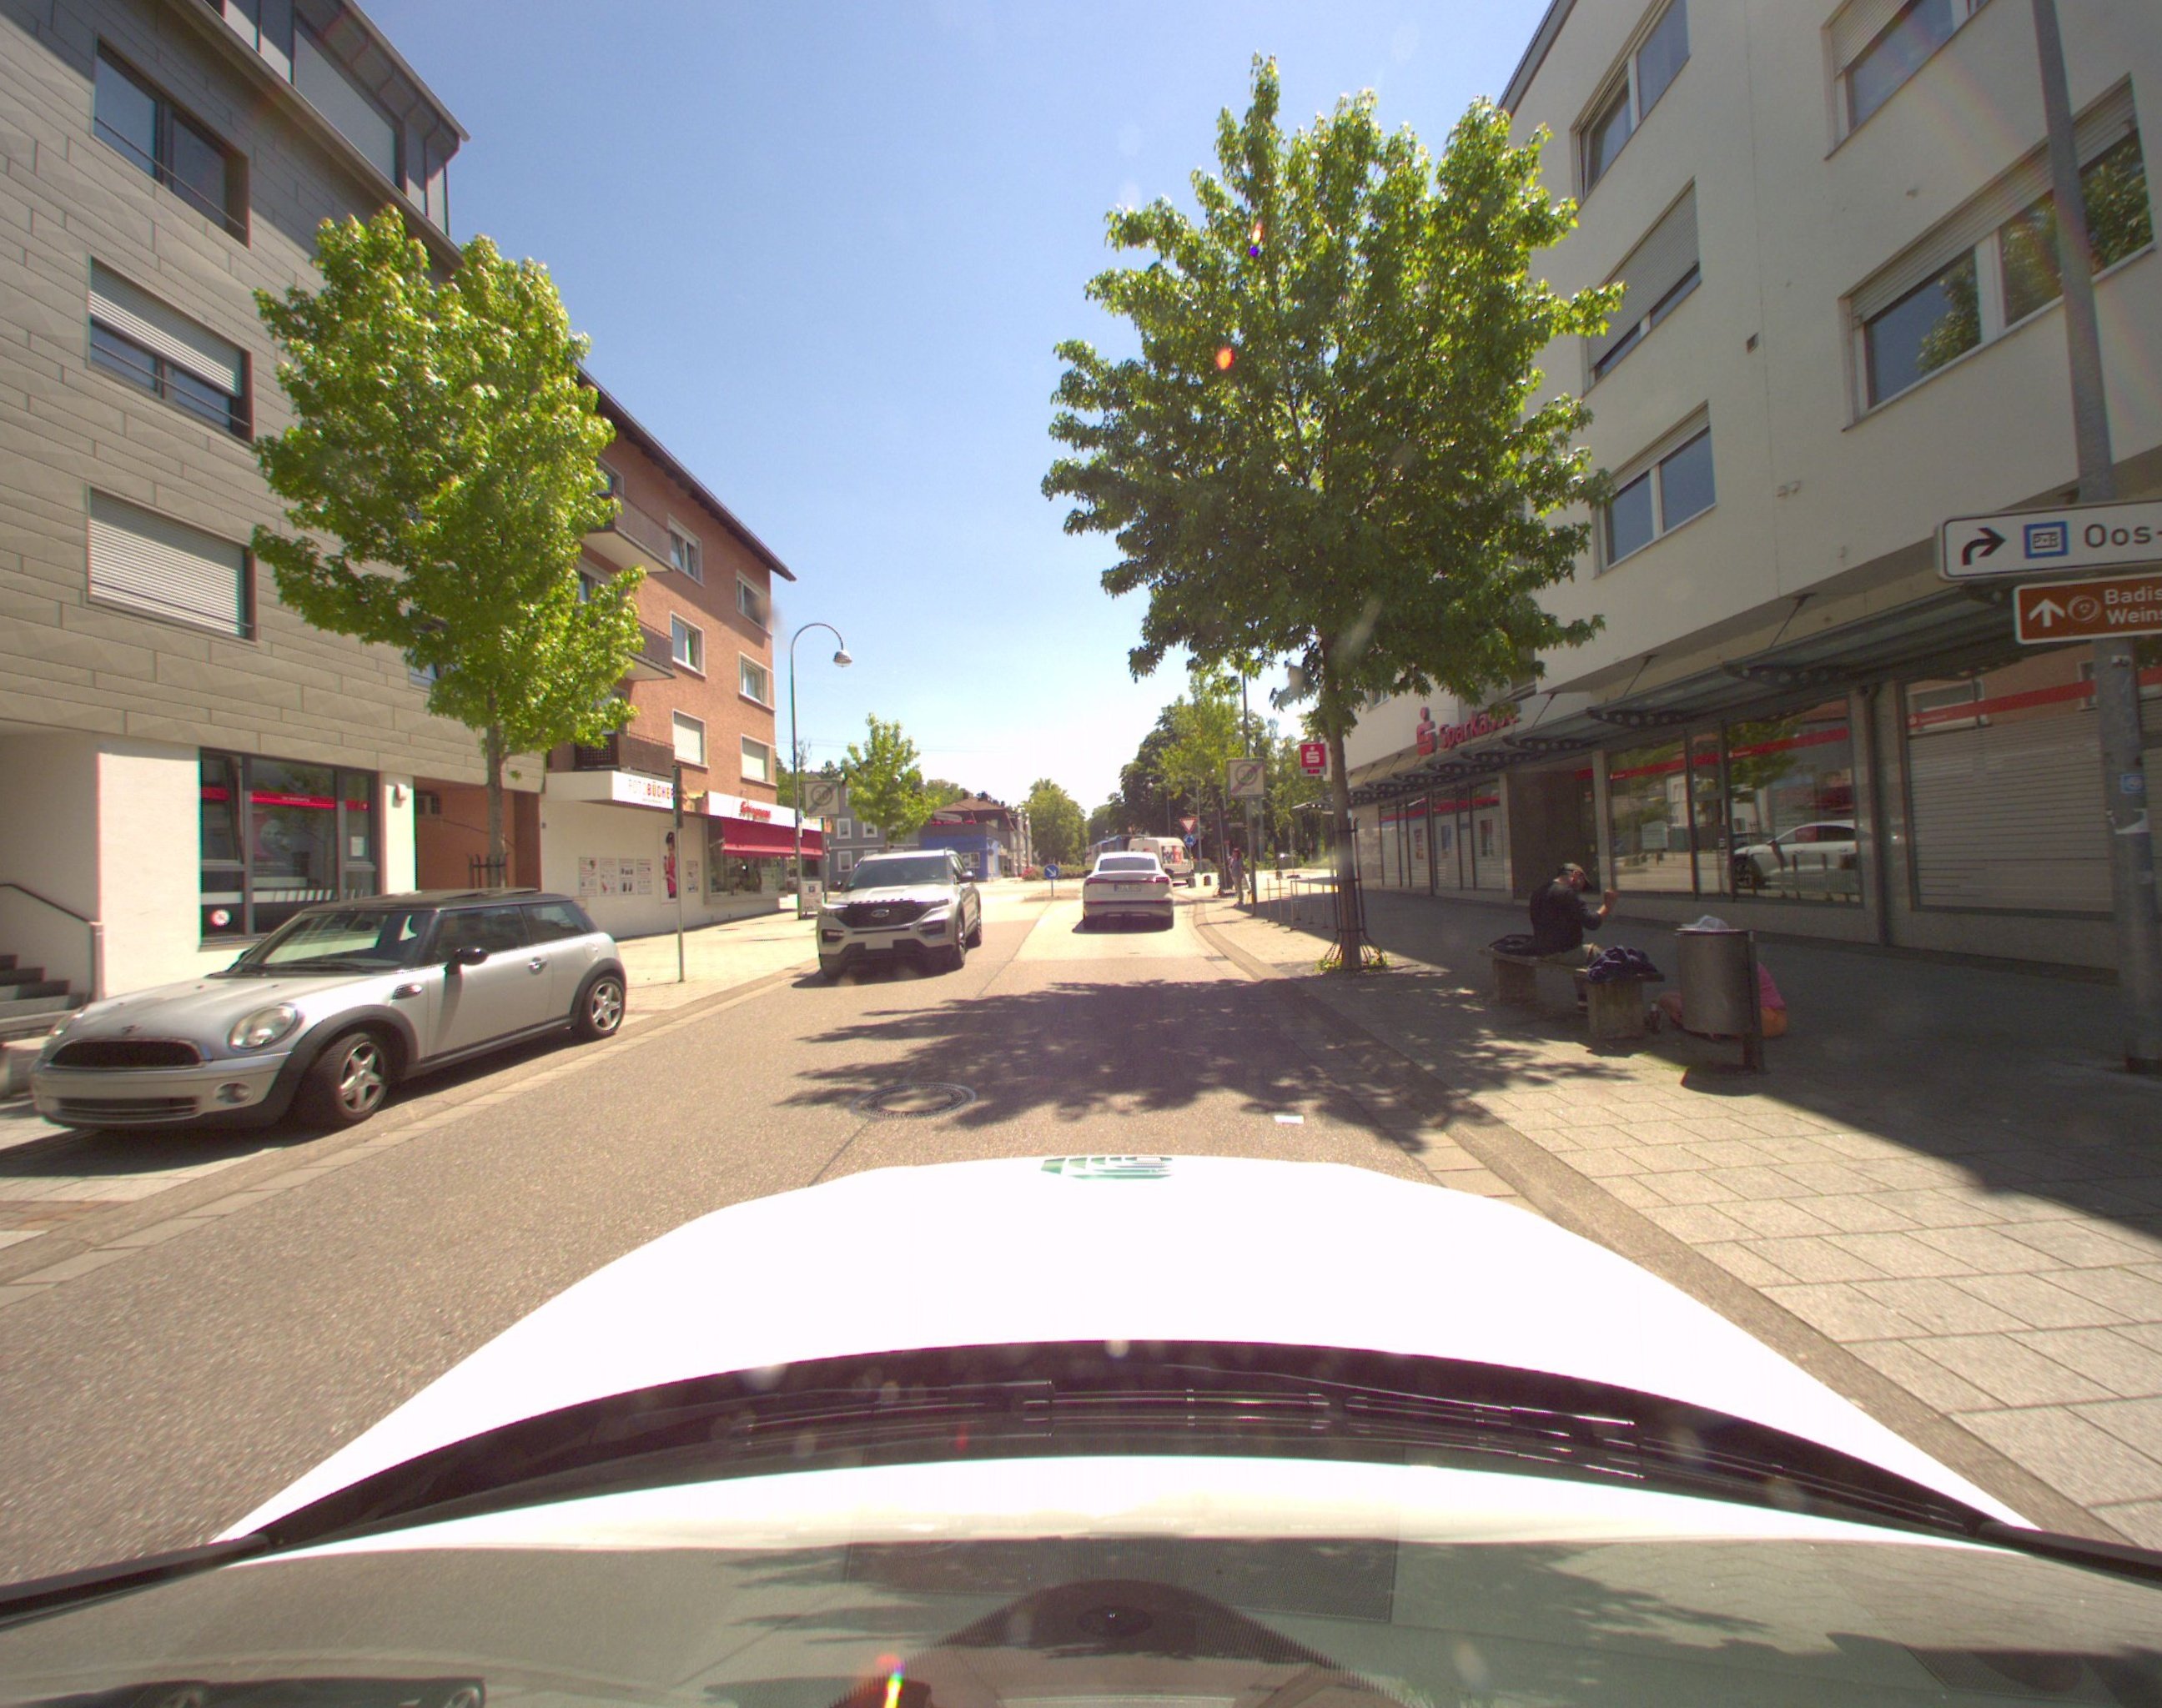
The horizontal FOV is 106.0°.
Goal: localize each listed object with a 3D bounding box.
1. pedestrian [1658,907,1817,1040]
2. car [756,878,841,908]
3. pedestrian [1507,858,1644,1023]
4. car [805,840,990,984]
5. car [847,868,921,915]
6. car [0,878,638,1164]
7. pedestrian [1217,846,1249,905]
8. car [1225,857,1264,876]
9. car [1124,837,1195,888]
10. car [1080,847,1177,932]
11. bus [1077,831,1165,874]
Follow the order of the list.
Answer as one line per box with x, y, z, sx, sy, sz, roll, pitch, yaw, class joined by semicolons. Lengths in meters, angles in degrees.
4.609;0.830;5.763;0.672;0.852;0.540;-4;-1;15;pedestrian
-16.782;2.298;48.500;4.407;1.457;1.769;-3;0;2;car
3.917;0.676;6.506;0.754;1.240;0.540;-3;-1;15;pedestrian
-2.687;0.788;13.119;1.895;1.754;4.753;-4;-1;-2;car
-6.690;1.239;28.054;1.662;1.486;4.057;0;-1;-2;car
-5.315;0.992;6.362;1.615;1.473;3.549;-3;-1;2;car
4.307;0.610;23.104;0.729;1.610;0.560;-3;-1;3;pedestrian
14.909;1.113;74.321;3.052;1.552;1.627;-3;-1;-12;car
4.263;0.412;43.332;1.975;2.481;5.515;-3;-1;24;car
1.030;0.725;18.396;1.891;1.662;4.411;-1;0;2;car
2.937;0.046;69.146;3.706;3.171;18.006;0;-1;-10;bus
